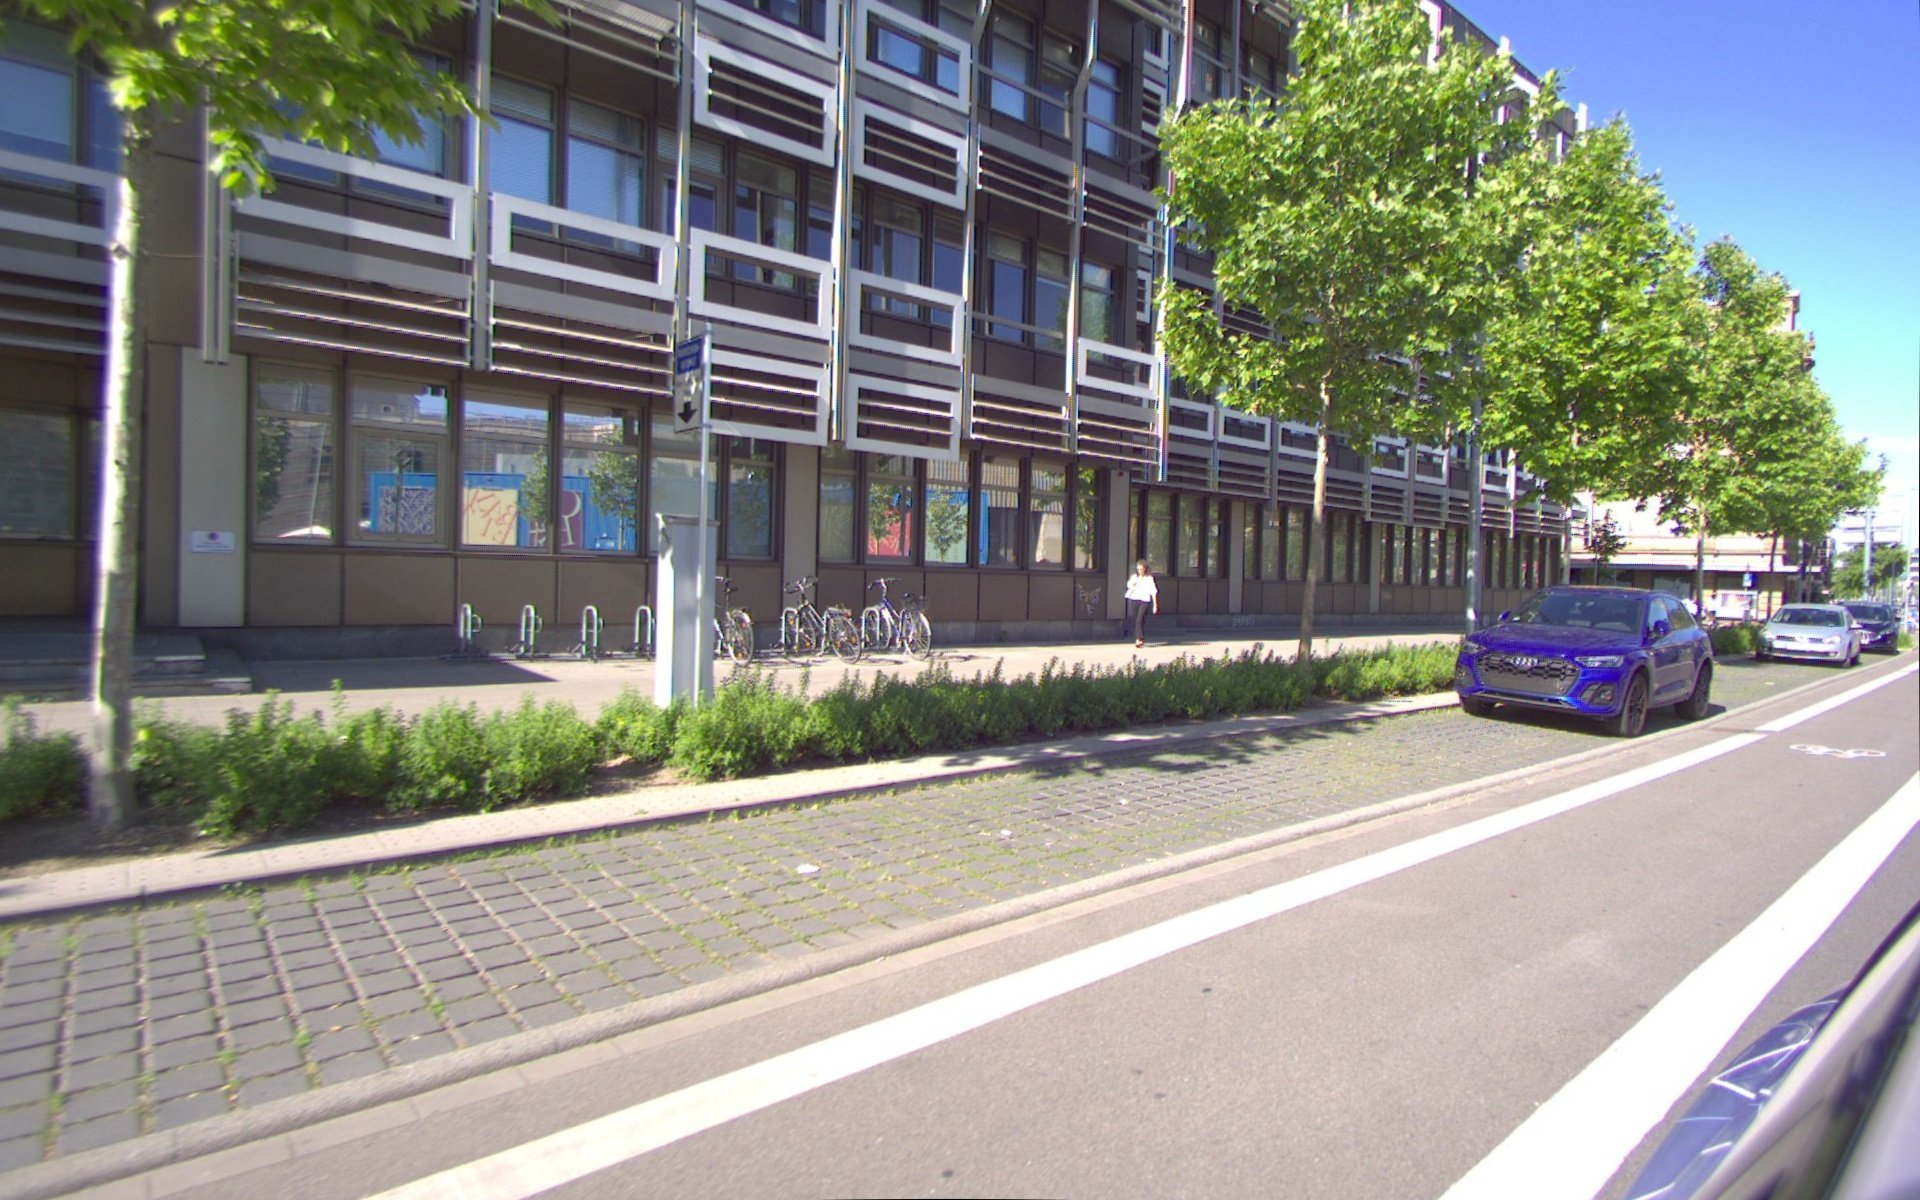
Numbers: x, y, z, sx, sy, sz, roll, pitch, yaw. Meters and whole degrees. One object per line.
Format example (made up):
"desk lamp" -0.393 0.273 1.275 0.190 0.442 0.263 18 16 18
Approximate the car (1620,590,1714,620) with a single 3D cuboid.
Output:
"car" 41.029 0.272 58.796 4.382 1.563 1.829 2 1 36

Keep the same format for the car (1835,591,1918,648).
"car" 29.792 0.588 32.862 4.397 1.679 1.749 0 1 -45

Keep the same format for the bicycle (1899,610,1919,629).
"bicycle" 62.164 1.324 65.448 2.050 1.133 0.593 5 3 44

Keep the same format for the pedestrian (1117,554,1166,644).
"pedestrian" 3.416 -0.023 19.031 0.662 1.642 0.512 1 3 -39

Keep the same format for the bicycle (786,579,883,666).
"bicycle" -1.751 0.279 13.894 0.419 1.023 1.864 1 3 -37

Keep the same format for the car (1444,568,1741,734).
"car" 8.187 0.532 12.898 4.764 1.677 1.853 1 3 -41

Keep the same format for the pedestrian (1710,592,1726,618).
"pedestrian" 43.671 0.298 58.278 0.680 1.468 0.536 2 1 39

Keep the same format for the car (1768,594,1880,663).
"car" 21.449 0.653 25.072 4.085 1.483 1.620 0 3 -43

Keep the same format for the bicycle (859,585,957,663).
"bicycle" -0.779 0.314 14.607 0.419 0.950 1.864 1 3 -37

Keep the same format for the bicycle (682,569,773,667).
"bicycle" -3.068 0.202 13.230 0.419 1.111 1.864 1 3 -37
